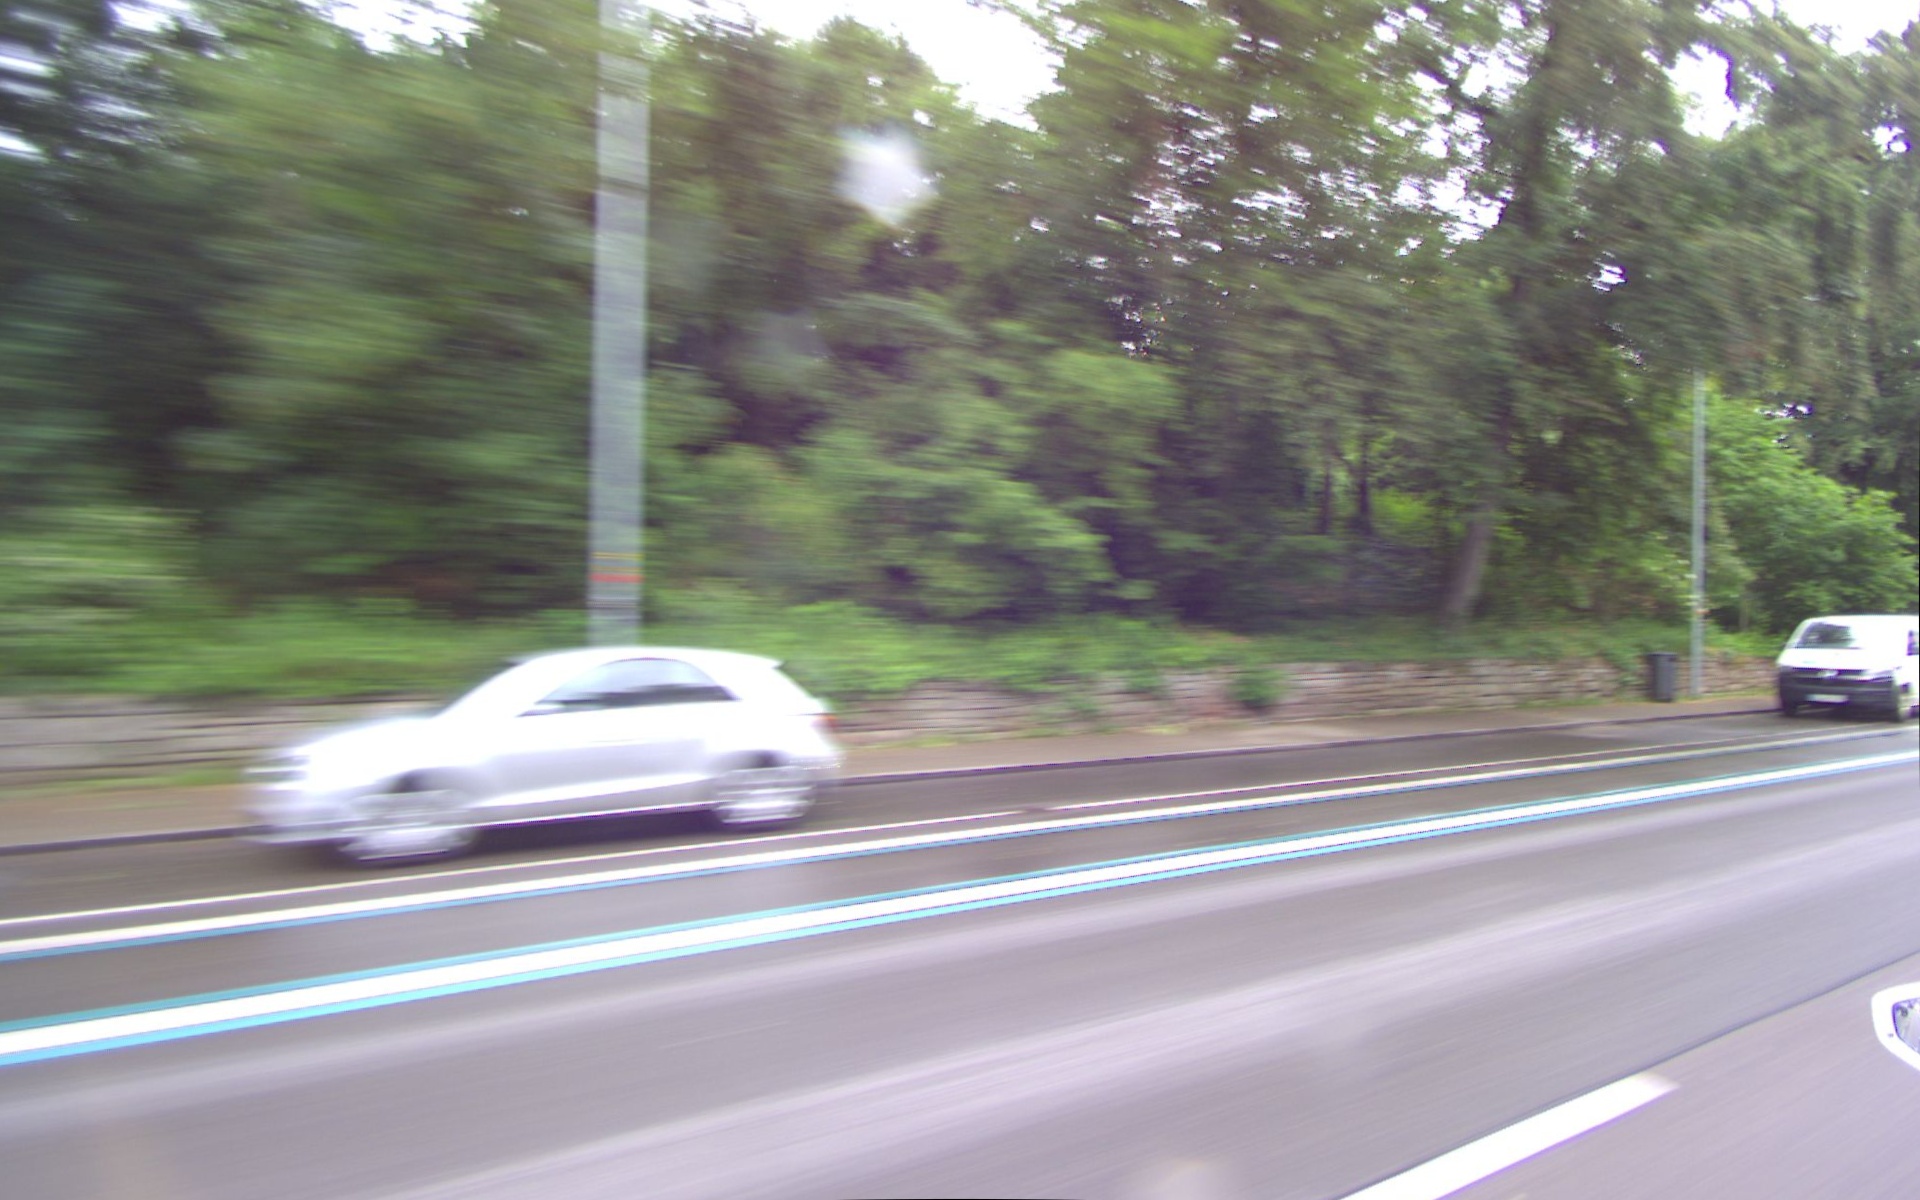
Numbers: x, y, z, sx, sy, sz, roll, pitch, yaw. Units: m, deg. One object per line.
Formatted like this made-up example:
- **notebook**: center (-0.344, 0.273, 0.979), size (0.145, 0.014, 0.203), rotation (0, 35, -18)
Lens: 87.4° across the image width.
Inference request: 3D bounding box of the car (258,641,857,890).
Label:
- **car**: center (-2.962, 1.078, 7.865), size (3.979, 1.424, 1.683), rotation (1, 0, -30)

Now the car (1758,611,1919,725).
- **car**: center (18.126, 1.257, 20.184), size (4.967, 2.031, 1.961), rotation (1, -1, -35)
